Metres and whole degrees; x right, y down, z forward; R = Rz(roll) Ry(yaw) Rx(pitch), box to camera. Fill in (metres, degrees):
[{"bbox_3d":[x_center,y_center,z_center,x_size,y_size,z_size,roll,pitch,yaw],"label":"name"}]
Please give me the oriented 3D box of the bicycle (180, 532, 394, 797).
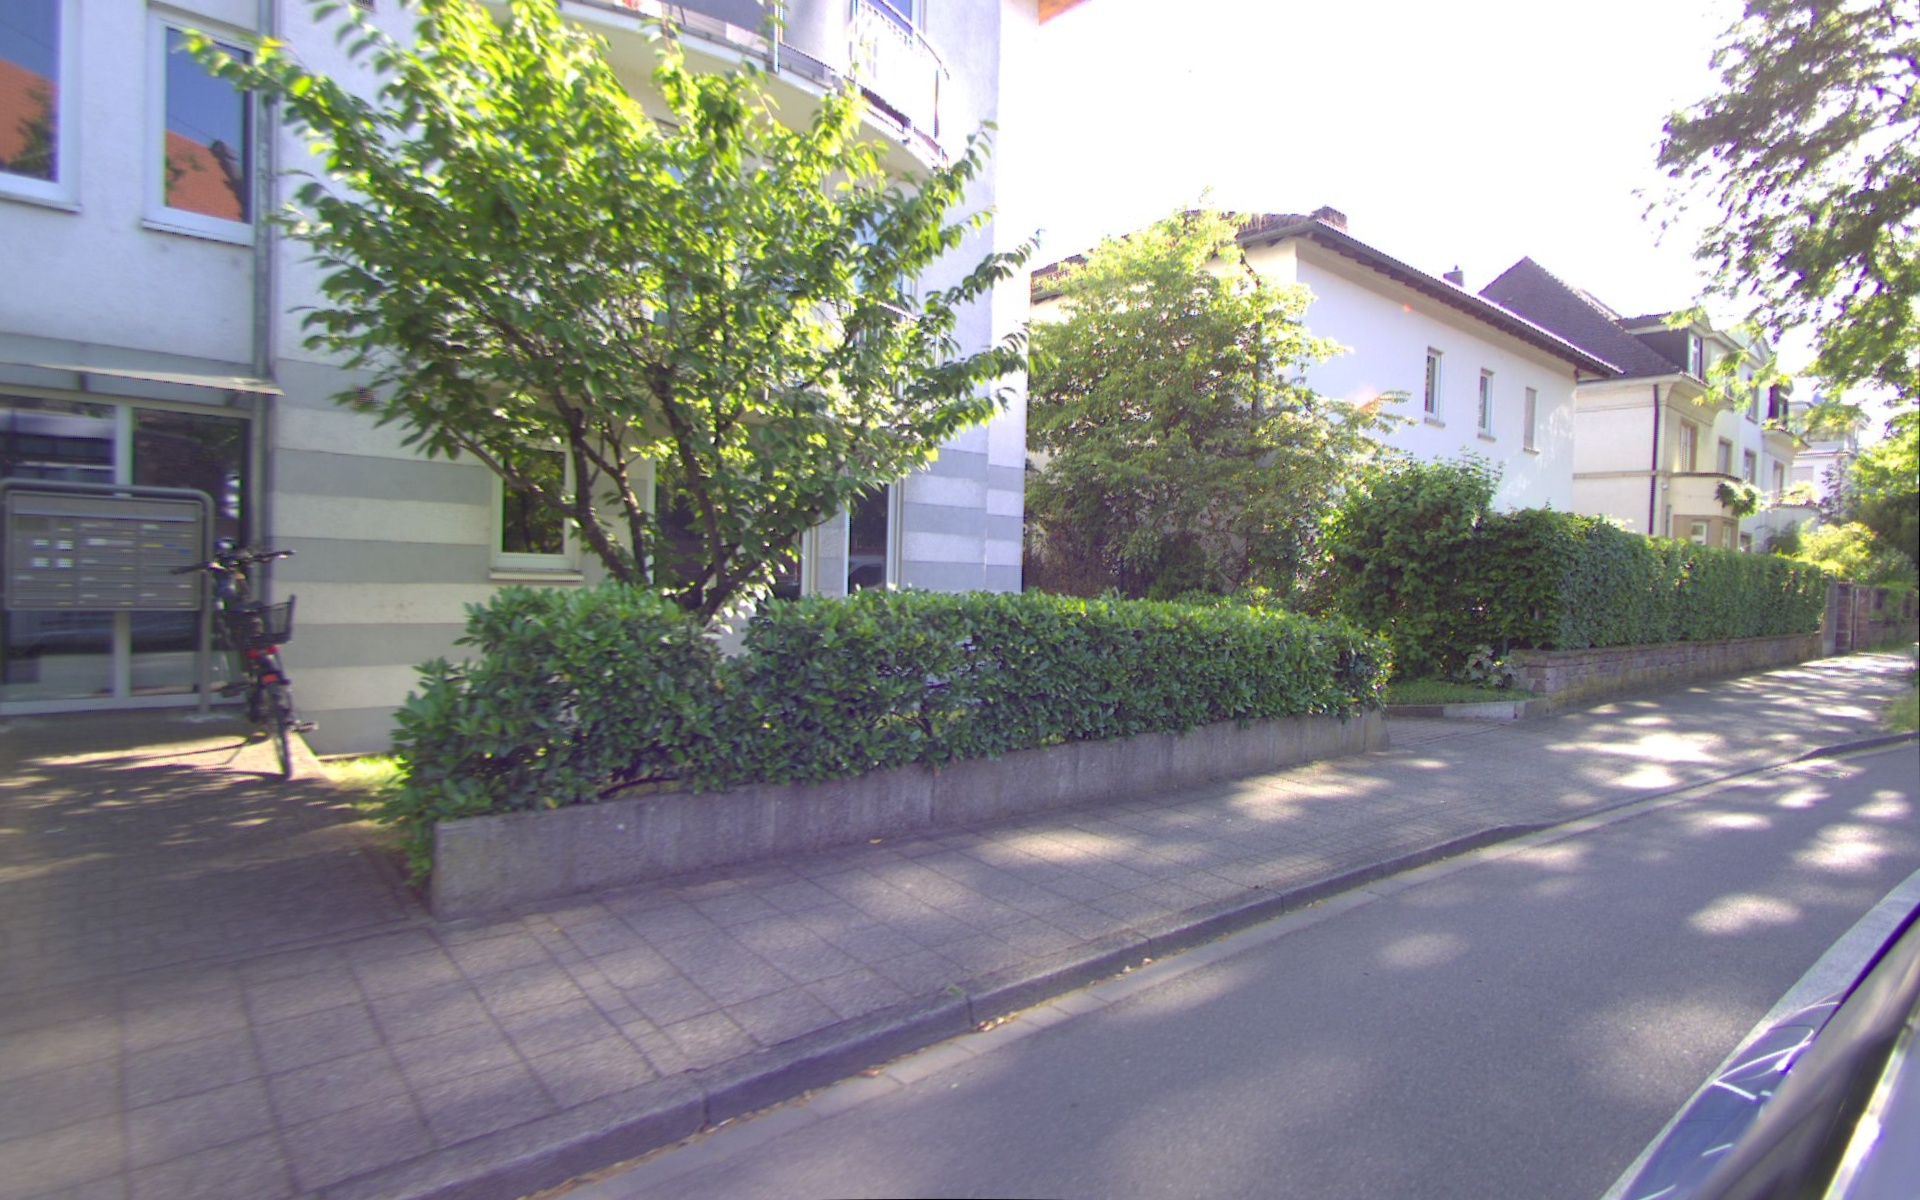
[{"bbox_3d":[-3.978,0.270,5.909,0.811,1.217,1.845,0,5,-41],"label":"bicycle"}]
